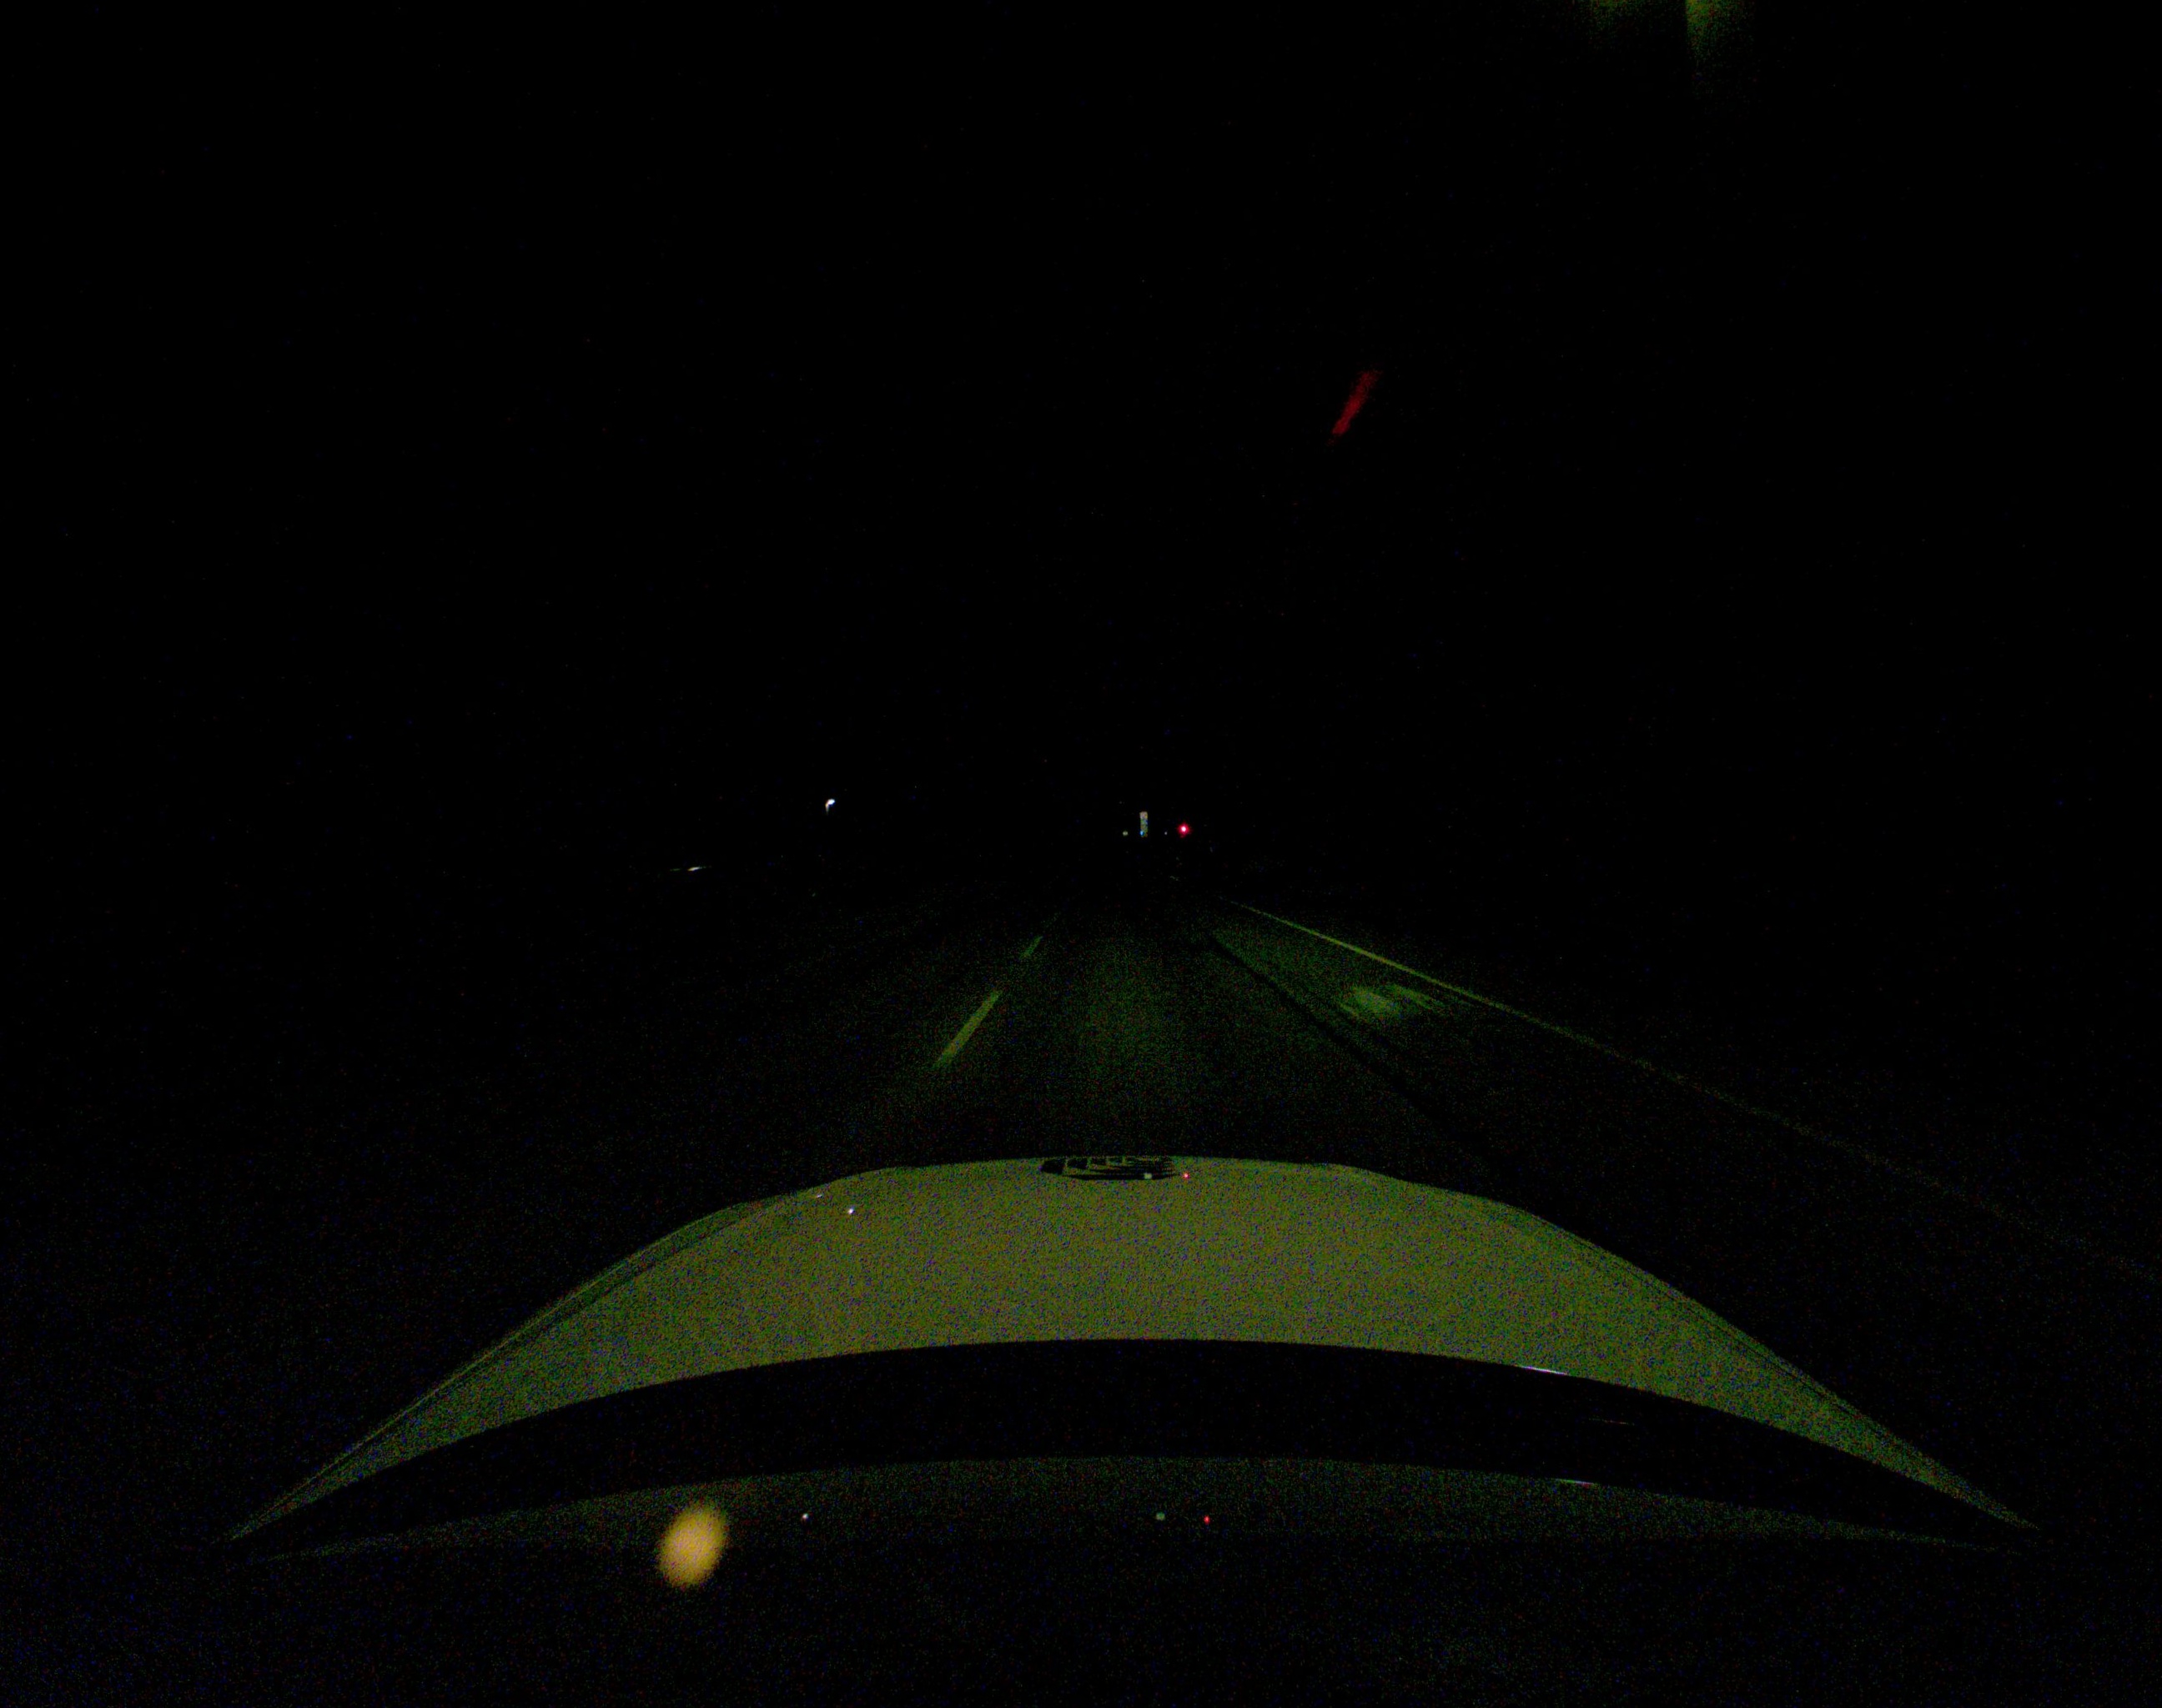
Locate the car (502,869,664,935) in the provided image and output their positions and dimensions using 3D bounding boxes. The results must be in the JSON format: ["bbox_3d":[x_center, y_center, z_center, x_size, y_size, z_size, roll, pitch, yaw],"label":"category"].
[{"bbox_3d":[-14.779,1.348,24.532,1.709,1.577,4.540,-6,0,4],"label":"car"}]

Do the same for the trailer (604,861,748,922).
[{"bbox_3d":[-14.479,1.265,29.634,2.016,1.780,5.678,-5,0,3],"label":"trailer"}]
